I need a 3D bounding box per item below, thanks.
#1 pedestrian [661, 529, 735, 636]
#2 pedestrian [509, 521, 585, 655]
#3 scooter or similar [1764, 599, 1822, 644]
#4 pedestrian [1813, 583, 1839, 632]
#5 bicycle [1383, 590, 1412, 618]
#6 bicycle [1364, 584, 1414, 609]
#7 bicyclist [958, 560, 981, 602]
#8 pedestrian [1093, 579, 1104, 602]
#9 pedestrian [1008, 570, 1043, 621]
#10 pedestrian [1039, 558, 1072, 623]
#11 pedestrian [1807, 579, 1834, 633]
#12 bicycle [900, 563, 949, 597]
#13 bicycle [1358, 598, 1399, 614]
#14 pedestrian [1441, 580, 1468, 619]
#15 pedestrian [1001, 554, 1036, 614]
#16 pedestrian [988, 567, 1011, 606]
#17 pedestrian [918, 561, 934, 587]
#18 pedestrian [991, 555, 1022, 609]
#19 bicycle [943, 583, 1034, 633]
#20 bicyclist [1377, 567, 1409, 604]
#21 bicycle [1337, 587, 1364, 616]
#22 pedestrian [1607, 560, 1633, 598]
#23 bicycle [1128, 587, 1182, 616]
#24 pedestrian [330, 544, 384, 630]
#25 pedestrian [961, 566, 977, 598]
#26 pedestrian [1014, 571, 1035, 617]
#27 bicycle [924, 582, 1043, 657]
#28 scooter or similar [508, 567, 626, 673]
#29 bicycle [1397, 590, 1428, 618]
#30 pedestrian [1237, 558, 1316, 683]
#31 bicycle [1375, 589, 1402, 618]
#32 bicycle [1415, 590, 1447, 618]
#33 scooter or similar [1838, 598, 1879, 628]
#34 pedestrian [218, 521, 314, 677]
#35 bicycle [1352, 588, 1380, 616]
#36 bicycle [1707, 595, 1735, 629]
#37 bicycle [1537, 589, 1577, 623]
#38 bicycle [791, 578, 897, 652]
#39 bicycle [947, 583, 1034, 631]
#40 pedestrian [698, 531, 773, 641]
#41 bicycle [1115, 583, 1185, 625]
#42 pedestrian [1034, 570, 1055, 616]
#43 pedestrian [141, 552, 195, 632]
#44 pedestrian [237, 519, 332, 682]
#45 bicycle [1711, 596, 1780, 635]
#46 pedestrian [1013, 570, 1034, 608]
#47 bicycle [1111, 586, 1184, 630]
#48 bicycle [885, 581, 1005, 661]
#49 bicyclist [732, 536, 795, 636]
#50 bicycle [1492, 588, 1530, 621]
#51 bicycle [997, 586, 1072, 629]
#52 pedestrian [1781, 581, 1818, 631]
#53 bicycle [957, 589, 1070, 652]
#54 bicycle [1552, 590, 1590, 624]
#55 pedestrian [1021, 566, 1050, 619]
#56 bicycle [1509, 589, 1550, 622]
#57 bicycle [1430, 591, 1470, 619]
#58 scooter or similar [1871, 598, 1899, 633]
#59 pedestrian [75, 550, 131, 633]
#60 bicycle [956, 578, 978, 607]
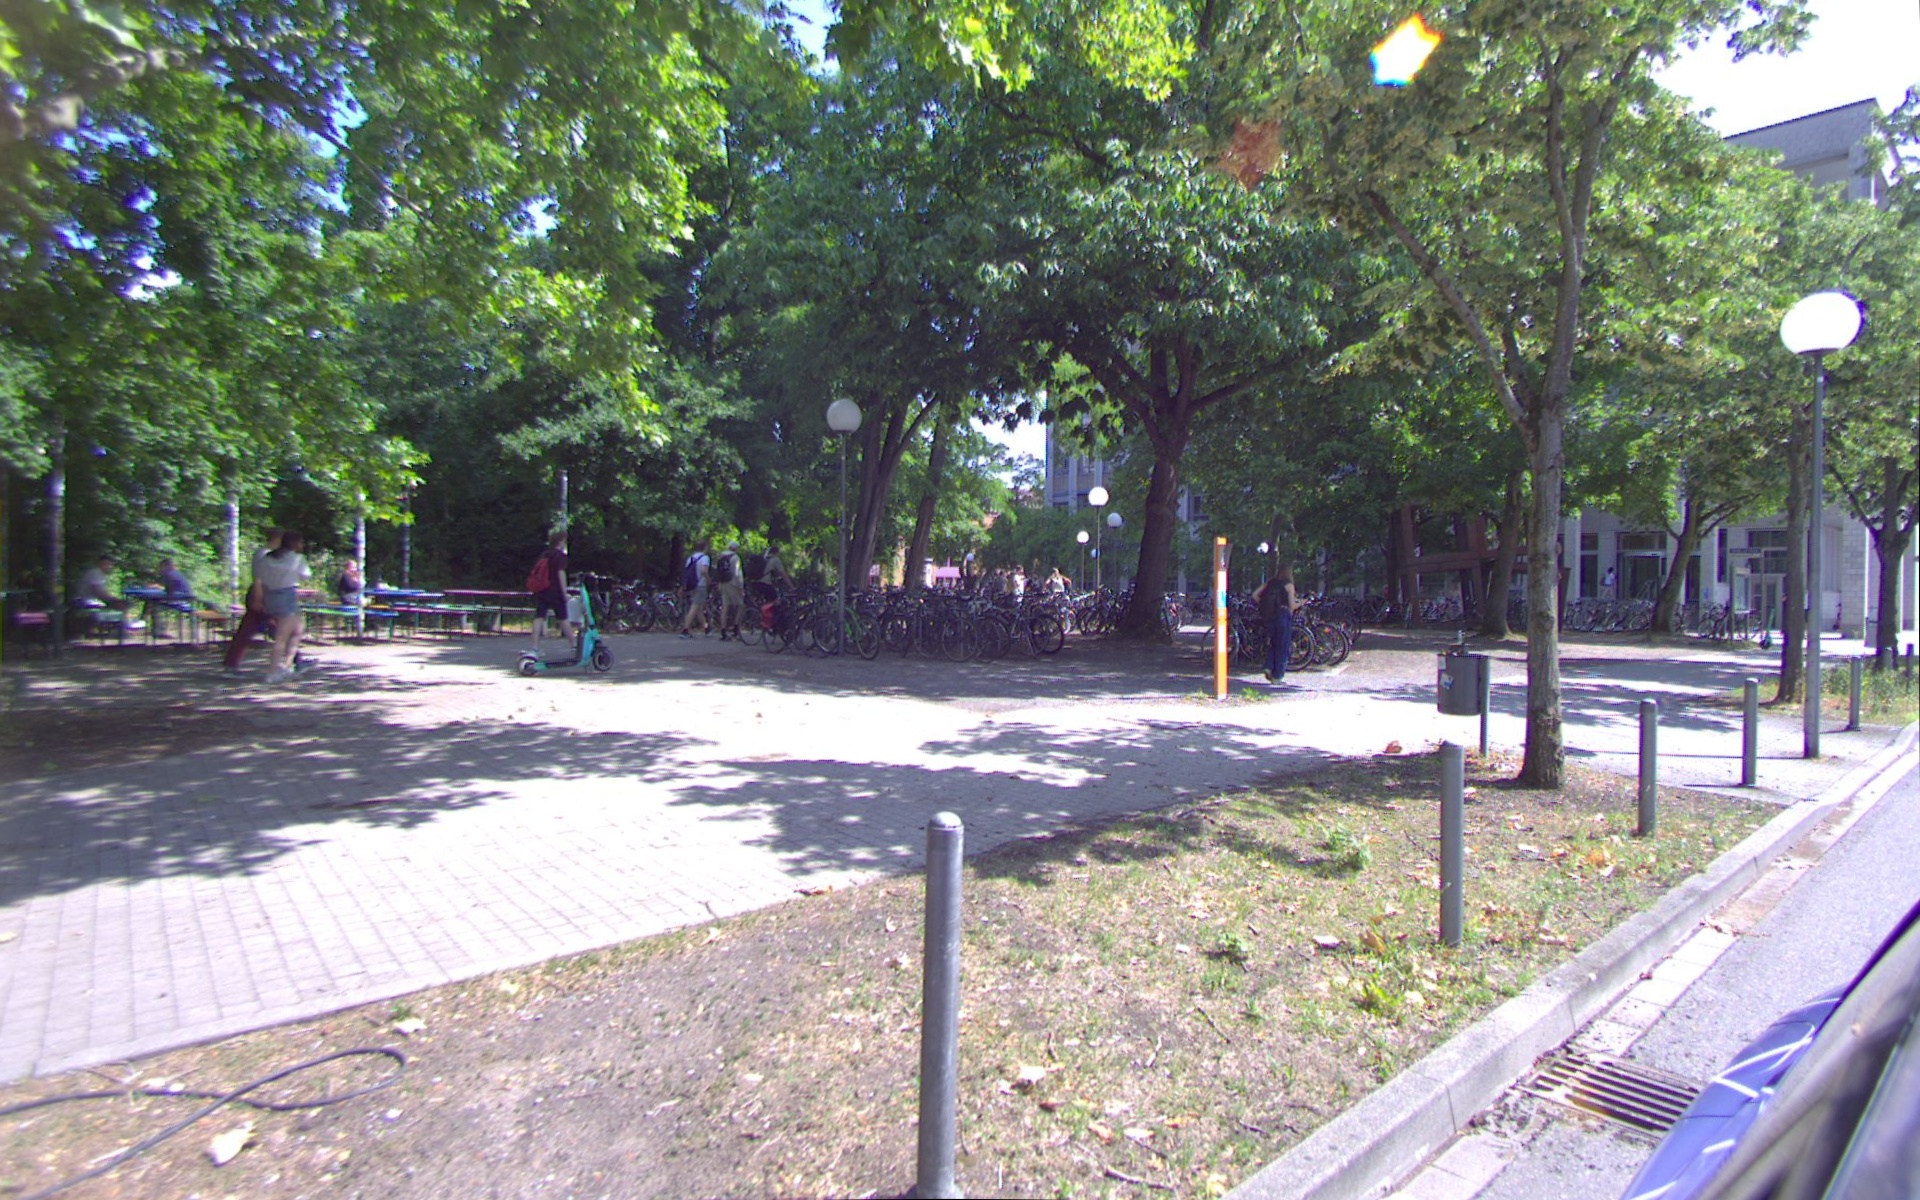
[{"bbox_3d":[-5.049,-0.346,19.516,0.828,1.973,1.068,3,2,29],"label":"pedestrian"},{"bbox_3d":[-6.005,-0.179,14.721,0.810,1.878,0.767,0,2,-41],"label":"pedestrian"},{"bbox_3d":[22.125,0.576,26.876,1.333,1.128,0.498,2,0,-16],"label":"scooter or similar"},{"bbox_3d":[31.684,0.268,37.036,0.533,1.751,0.613,0,1,-40],"label":"pedestrian"},{"bbox_3d":[17.608,0.171,40.708,0.499,1.061,1.661,-2,-2,44],"label":"bicycle"},{"bbox_3d":[19.428,-0.188,45.855,0.804,1.054,1.930,-4,4,-37],"label":"bicycle"},{"bbox_3d":[0.353,-0.681,36.391,0.732,1.465,0.802,2,0,6],"label":"bicyclist"},{"bbox_3d":[7.615,-0.536,55.575,0.379,1.228,0.403,1,0,-33],"label":"pedestrian"},{"bbox_3d":[2.383,-0.154,36.828,0.954,1.797,0.963,2,0,27],"label":"pedestrian"},{"bbox_3d":[2.731,-0.275,28.994,0.706,1.797,0.746,2,0,-11],"label":"pedestrian"},{"bbox_3d":[30.879,0.216,36.310,0.675,1.914,0.685,-1,1,-44],"label":"pedestrian"},{"bbox_3d":[-1.208,-0.682,34.668,1.586,1.107,0.477,2,1,12],"label":"bicycle"},{"bbox_3d":[23.052,0.310,55.775,0.633,0.769,1.986,2,1,-43],"label":"bicycle"},{"bbox_3d":[22.427,-0.029,45.906,0.924,1.762,0.745,0,0,16],"label":"pedestrian"},{"bbox_3d":[1.778,-0.487,30.562,0.742,1.797,0.710,2,0,41],"label":"pedestrian"},{"bbox_3d":[1.892,-0.653,48.806,0.824,1.797,0.994,2,0,-11],"label":"pedestrian"},{"bbox_3d":[-2.179,-1.659,64.599,0.730,1.589,0.721,1,0,-33],"label":"pedestrian"},{"bbox_3d":[1.599,-0.618,34.476,0.742,1.797,0.710,2,0,41],"label":"pedestrian"},{"bbox_3d":[0.608,0.149,21.916,1.886,0.991,0.607,3,2,28],"label":"bicycle"},{"bbox_3d":[19.549,-0.655,45.735,0.823,1.562,0.959,4,0,-38],"label":"bicyclist"},{"bbox_3d":[16.381,0.074,42.418,0.453,1.144,1.661,-2,-2,44],"label":"bicycle"},{"bbox_3d":[31.948,-1.035,48.991,0.793,1.819,0.621,1,1,-9],"label":"pedestrian"},{"bbox_3d":[7.143,0.065,37.035,1.871,0.991,0.478,2,1,6],"label":"bicycle"},{"bbox_3d":[-11.613,-0.256,19.481,0.667,1.601,0.707,5,3,45],"label":"pedestrian"},{"bbox_3d":[0.429,-0.873,49.231,0.679,1.530,0.514,3,2,6],"label":"pedestrian"},{"bbox_3d":[2.572,-0.239,40.319,0.732,1.797,0.719,2,0,9],"label":"pedestrian"},{"bbox_3d":[0.373,0.292,16.733,1.886,1.132,0.607,2,2,28],"label":"bicycle"},{"bbox_3d":[-4.745,0.218,12.259,1.272,1.234,0.425,-1,1,-41],"label":"scooter or similar"},{"bbox_3d":[18.014,0.180,40.293,0.615,1.061,1.661,-2,-2,44],"label":"bicycle"},{"bbox_3d":[4.208,0.257,13.459,0.911,1.591,0.569,0,2,-41],"label":"pedestrian"},{"bbox_3d":[17.545,0.139,41.454,0.453,1.144,1.661,-2,-2,44],"label":"bicycle"},{"bbox_3d":[18.538,0.183,39.799,0.615,1.061,1.661,-2,-2,44],"label":"bicycle"},{"bbox_3d":[38.589,0.544,43.497,0.555,1.226,1.507,0,2,8],"label":"scooter or similar"},{"bbox_3d":[-7.855,-0.027,11.453,0.810,1.681,0.767,0,2,-41],"label":"pedestrian"},{"bbox_3d":[16.838,0.099,41.957,0.453,1.144,1.661,-2,-2,44],"label":"bicycle"},{"bbox_3d":[29.491,0.434,39.214,1.798,1.257,0.531,-1,2,-42],"label":"bicycle"},{"bbox_3d":[21.591,0.227,36.576,1.664,1.139,0.566,2,1,-36],"label":"bicycle"},{"bbox_3d":[-1.995,0.230,17.279,1.888,1.157,0.473,3,2,31],"label":"bicycle"},{"bbox_3d":[0.694,0.145,22.978,1.877,0.991,0.534,2,2,16],"label":"bicycle"},{"bbox_3d":[-4.205,-0.272,19.028,0.828,1.973,1.068,3,2,29],"label":"pedestrian"},{"bbox_3d":[5.296,0.092,28.180,1.875,1.096,0.477,2,1,14],"label":"bicycle"},{"bbox_3d":[3.351,-0.271,40.192,0.732,1.797,0.719,2,0,9],"label":"pedestrian"},{"bbox_3d":[-13.394,-0.139,17.116,0.667,1.286,0.612,5,3,45],"label":"pedestrian"},{"bbox_3d":[-7.327,-0.012,10.973,0.774,1.681,0.698,0,2,-41],"label":"pedestrian"},{"bbox_3d":[24.541,0.483,31.627,1.749,1.155,0.607,1,2,-8],"label":"bicycle"},{"bbox_3d":[3.074,-0.515,48.910,0.838,1.797,0.813,2,0,-4],"label":"pedestrian"},{"bbox_3d":[4.971,0.203,26.859,1.875,1.096,0.477,2,1,14],"label":"bicycle"},{"bbox_3d":[-0.244,0.302,15.760,1.792,1.132,0.607,2,2,28],"label":"bicycle"},{"bbox_3d":[-3.555,-0.262,18.352,0.527,1.750,1.068,3,2,28],"label":"bicyclist"},{"bbox_3d":[20.547,0.177,37.718,1.666,1.165,0.627,2,1,-40],"label":"bicycle"},{"bbox_3d":[1.860,0.181,25.410,1.863,0.991,0.304,2,2,23],"label":"bicycle"},{"bbox_3d":[31.178,0.207,37.581,0.796,1.819,0.619,1,1,6],"label":"pedestrian"},{"bbox_3d":[0.926,0.343,17.801,1.886,0.991,0.607,3,2,28],"label":"bicycle"},{"bbox_3d":[21.799,0.252,36.087,1.664,1.139,0.482,2,1,-36],"label":"bicycle"},{"bbox_3d":[2.603,-0.251,34.720,0.738,1.797,0.714,2,0,27],"label":"pedestrian"},{"bbox_3d":[20.858,0.200,37.047,1.664,1.139,0.628,2,1,-36],"label":"bicycle"},{"bbox_3d":[19.024,0.198,39.246,1.663,1.061,0.618,1,-2,-33],"label":"bicycle"},{"bbox_3d":[33.984,0.569,37.160,1.485,1.226,0.564,0,4,-42],"label":"scooter or similar"},{"bbox_3d":[-13.908,-0.138,16.426,0.667,1.286,0.612,5,3,45],"label":"pedestrian"},{"bbox_3d":[0.277,-0.294,36.501,0.576,0.942,1.750,4,3,6],"label":"bicycle"}]
